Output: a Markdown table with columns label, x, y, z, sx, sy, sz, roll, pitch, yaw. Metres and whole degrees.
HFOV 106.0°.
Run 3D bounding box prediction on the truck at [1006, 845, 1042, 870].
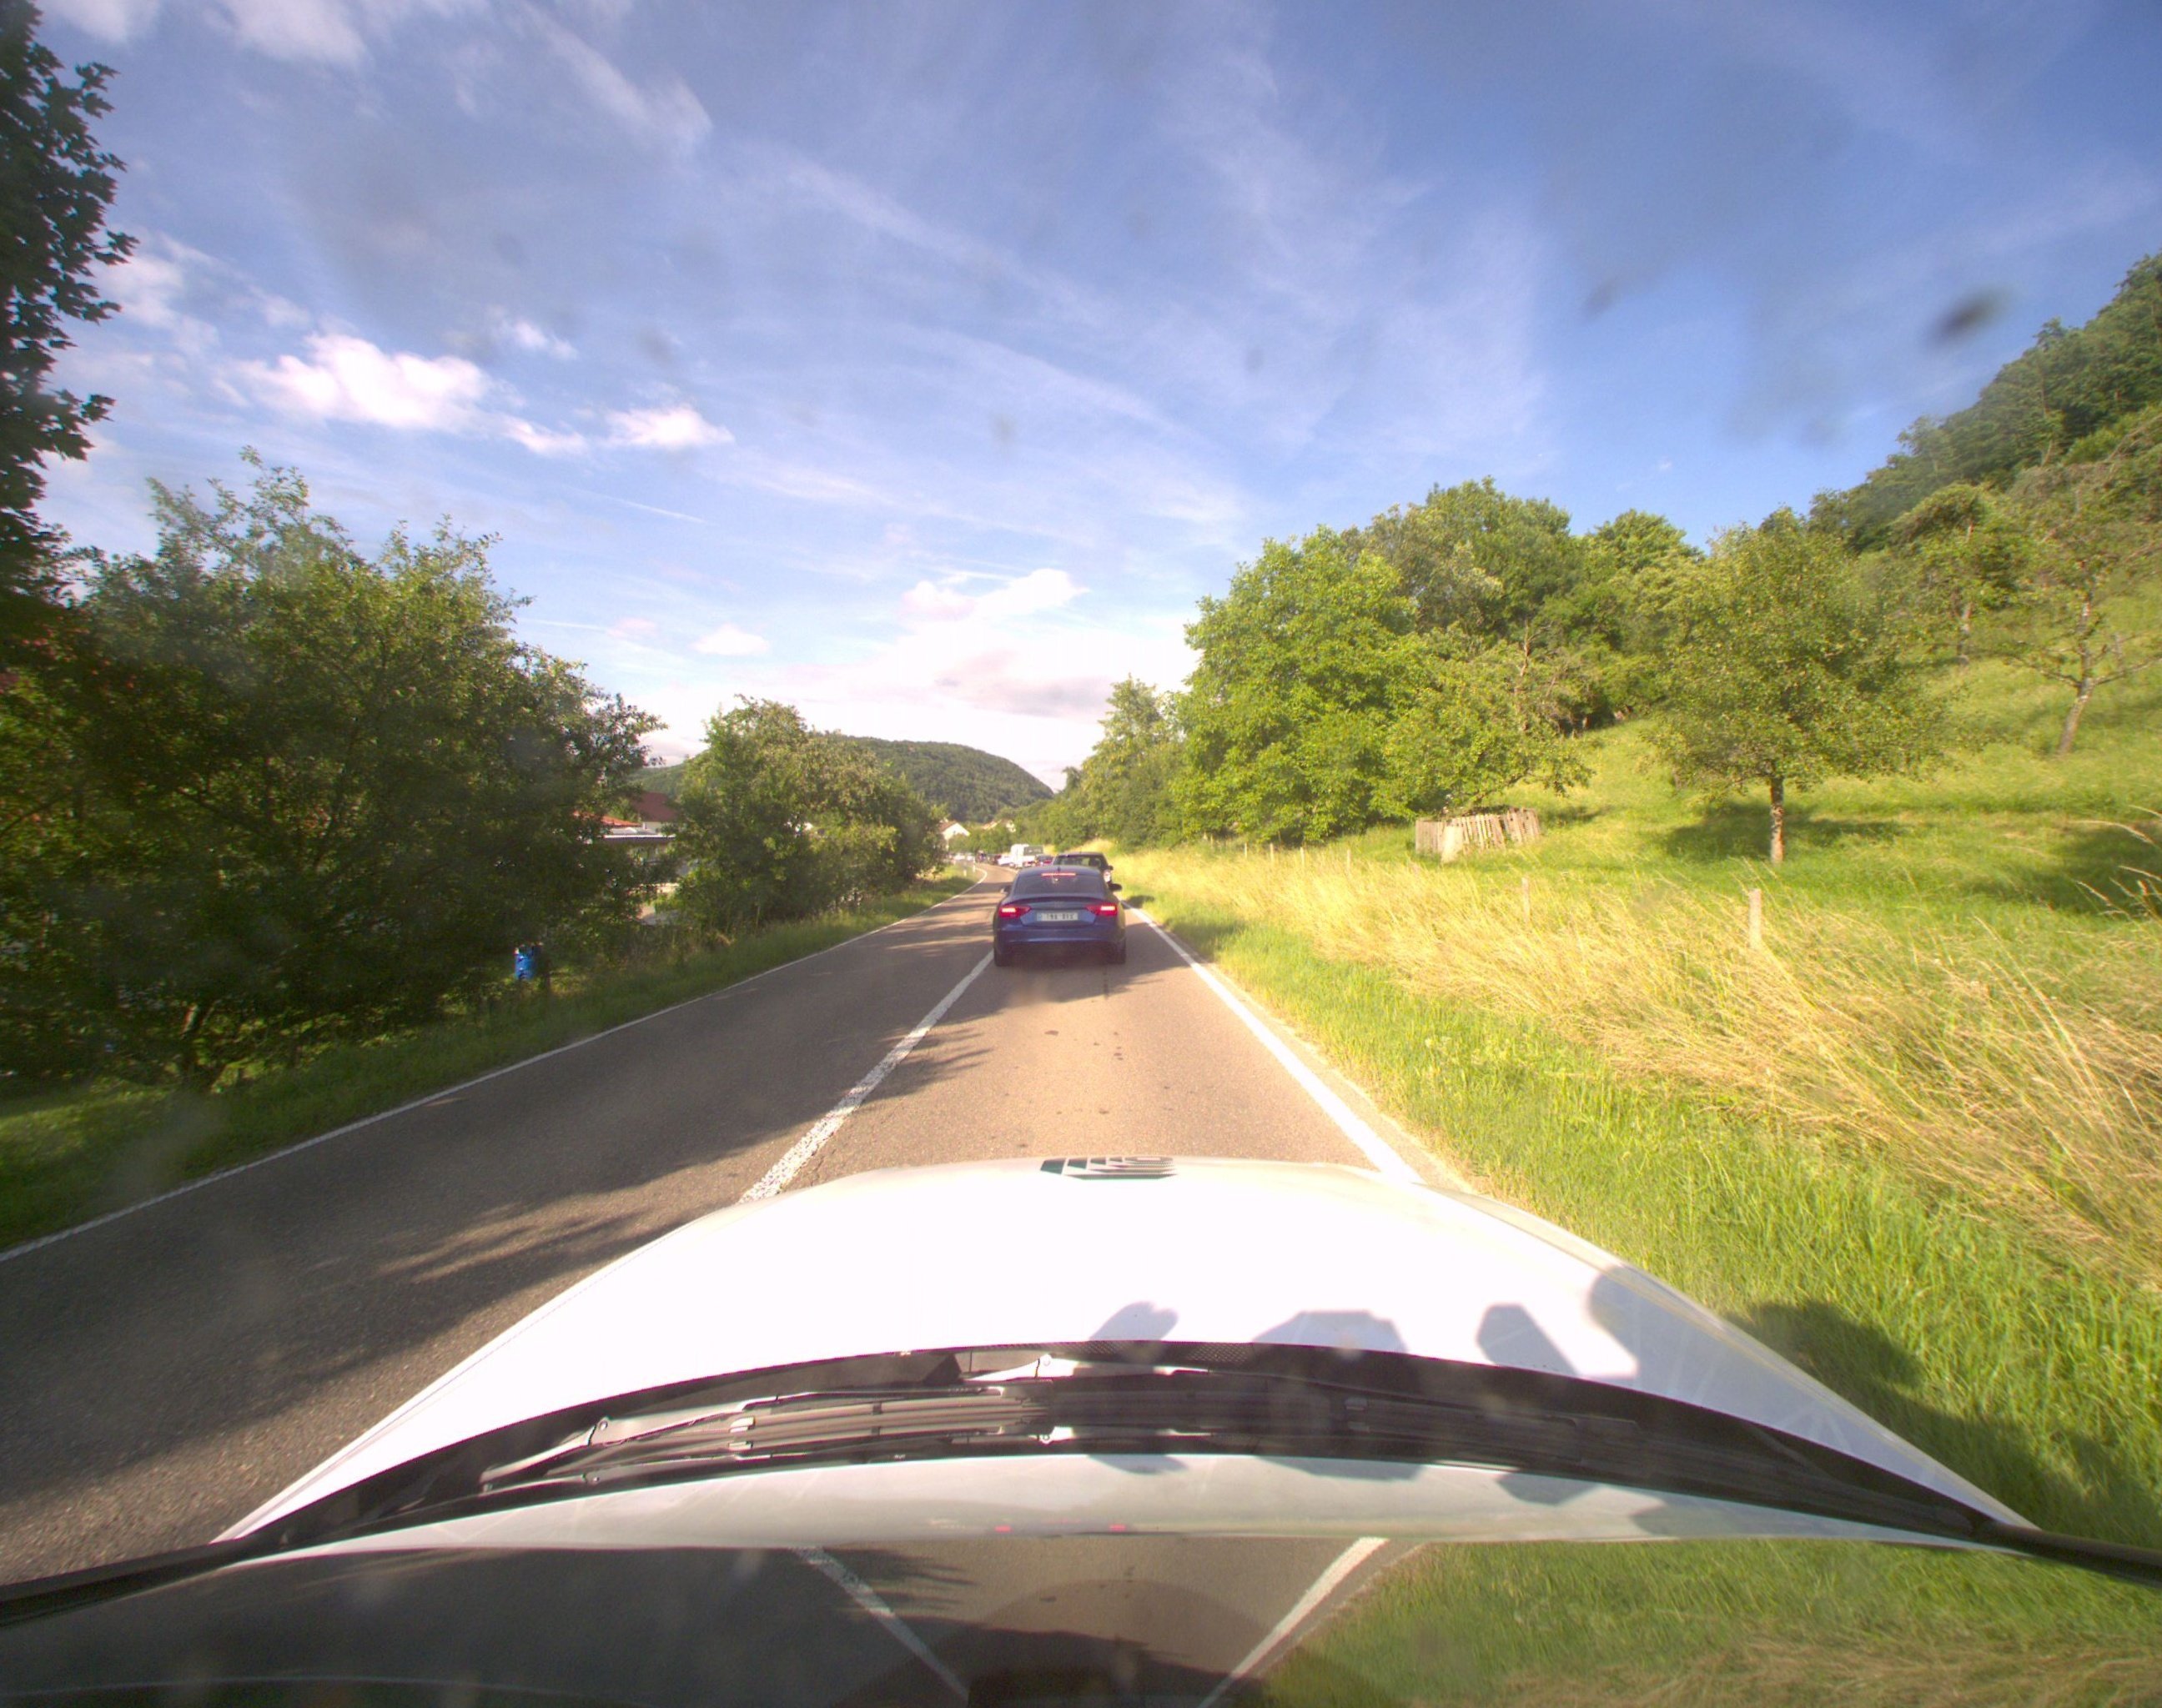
| label | x | y | z | sx | sy | sz | roll | pitch | yaw |
| --- | --- | --- | --- | --- | --- | --- | --- | --- | --- |
| truck | -6.553 | 0.396 | 91.860 | 2.865 | 2.665 | 10.607 | 0 | 0 | -10 |

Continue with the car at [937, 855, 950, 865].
| label | x | y | z | sx | sy | sz | roll | pitch | yaw |
| --- | --- | --- | --- | --- | --- | --- | --- | --- | --- |
| car | -29.796 | 1.331 | 176.839 | 2.001 | 2.014 | 3.972 | 0 | -1 | -21 |

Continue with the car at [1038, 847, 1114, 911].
| label | x | y | z | sx | sy | sz | roll | pitch | yaw |
| --- | --- | --- | --- | --- | --- | --- | --- | --- | --- |
| car | -0.115 | 0.680 | 23.686 | 1.987 | 1.702 | 4.000 | -1 | -1 | 0 |

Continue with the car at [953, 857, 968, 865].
| label | x | y | z | sx | sy | sz | roll | pitch | yaw |
| --- | --- | --- | --- | --- | --- | --- | --- | --- | --- |
| car | -23.498 | 1.318 | 158.250 | 2.001 | 1.482 | 3.971 | 0 | -1 | -22 |

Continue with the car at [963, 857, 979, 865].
| label | x | y | z | sx | sy | sz | roll | pitch | yaw |
| --- | --- | --- | --- | --- | --- | --- | --- | --- | --- |
| car | -19.843 | 1.247 | 146.368 | 2.001 | 1.482 | 3.971 | 0 | -1 | -22 |

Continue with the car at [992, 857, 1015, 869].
| label | x | y | z | sx | sy | sz | roll | pitch | yaw |
| --- | --- | --- | --- | --- | --- | --- | --- | --- | --- |
| car | -9.896 | 1.116 | 103.967 | 2.000 | 1.482 | 3.973 | 0 | -1 | -20 |

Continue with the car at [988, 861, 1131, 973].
| label | x | y | z | sx | sy | sz | roll | pitch | yaw |
| --- | --- | --- | --- | --- | --- | --- | --- | --- | --- |
| car | -0.222 | 0.813 | 12.336 | 1.787 | 1.360 | 4.001 | -1 | 0 | 1 |

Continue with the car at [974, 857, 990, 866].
| label | x | y | z | sx | sy | sz | roll | pitch | yaw |
| --- | --- | --- | --- | --- | --- | --- | --- | --- | --- |
| car | -16.263 | 1.268 | 133.209 | 1.998 | 1.482 | 3.978 | 0 | -1 | -16 |

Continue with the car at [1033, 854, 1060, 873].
| label | x | y | z | sx | sy | sz | roll | pitch | yaw |
| --- | --- | --- | --- | --- | --- | --- | --- | --- | --- |
| car | -2.901 | 0.792 | 67.570 | 1.991 | 1.482 | 3.990 | -1 | -1 | -7 |

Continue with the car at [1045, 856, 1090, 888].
| label | x | y | z | sx | sy | sz | roll | pitch | yaw |
| --- | --- | --- | --- | --- | --- | --- | --- | --- | --- |
| car | -0.571 | 0.815 | 37.572 | 1.987 | 1.387 | 4.000 | -1 | -1 | 0 |

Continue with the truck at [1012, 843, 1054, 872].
| label | x | y | z | sx | sy | sz | roll | pitch | yaw |
| --- | --- | --- | --- | --- | --- | --- | --- | --- | --- |
| truck | -4.846 | 0.334 | 80.346 | 2.865 | 2.665 | 10.356 | 0 | 0 | -10 |

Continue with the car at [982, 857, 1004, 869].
| label | x | y | z | sx | sy | sz | roll | pitch | yaw |
| --- | --- | --- | --- | --- | --- | --- | --- | --- | --- |
| car | -12.027 | 1.233 | 111.172 | 2.000 | 1.482 | 3.973 | 0 | -1 | -20 |

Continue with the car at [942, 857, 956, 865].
| label | x | y | z | sx | sy | sz | roll | pitch | yaw |
| --- | --- | --- | --- | --- | --- | --- | --- | --- | --- |
| car | -27.510 | 1.465 | 169.327 | 2.001 | 1.482 | 3.971 | 0 | -1 | -22 |

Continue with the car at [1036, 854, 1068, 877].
| label | x | y | z | sx | sy | sz | roll | pitch | yaw |
| --- | --- | --- | --- | --- | --- | --- | --- | --- | --- |
| car | -2.004 | 0.768 | 54.793 | 1.990 | 1.482 | 3.994 | -1 | -1 | -4 |

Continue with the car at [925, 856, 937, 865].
| label | x | y | z | sx | sy | sz | roll | pitch | yaw |
| --- | --- | --- | --- | --- | --- | --- | --- | --- | --- |
| car | -34.646 | 1.417 | 187.644 | 2.001 | 2.014 | 3.972 | 0 | -1 | -21 |
